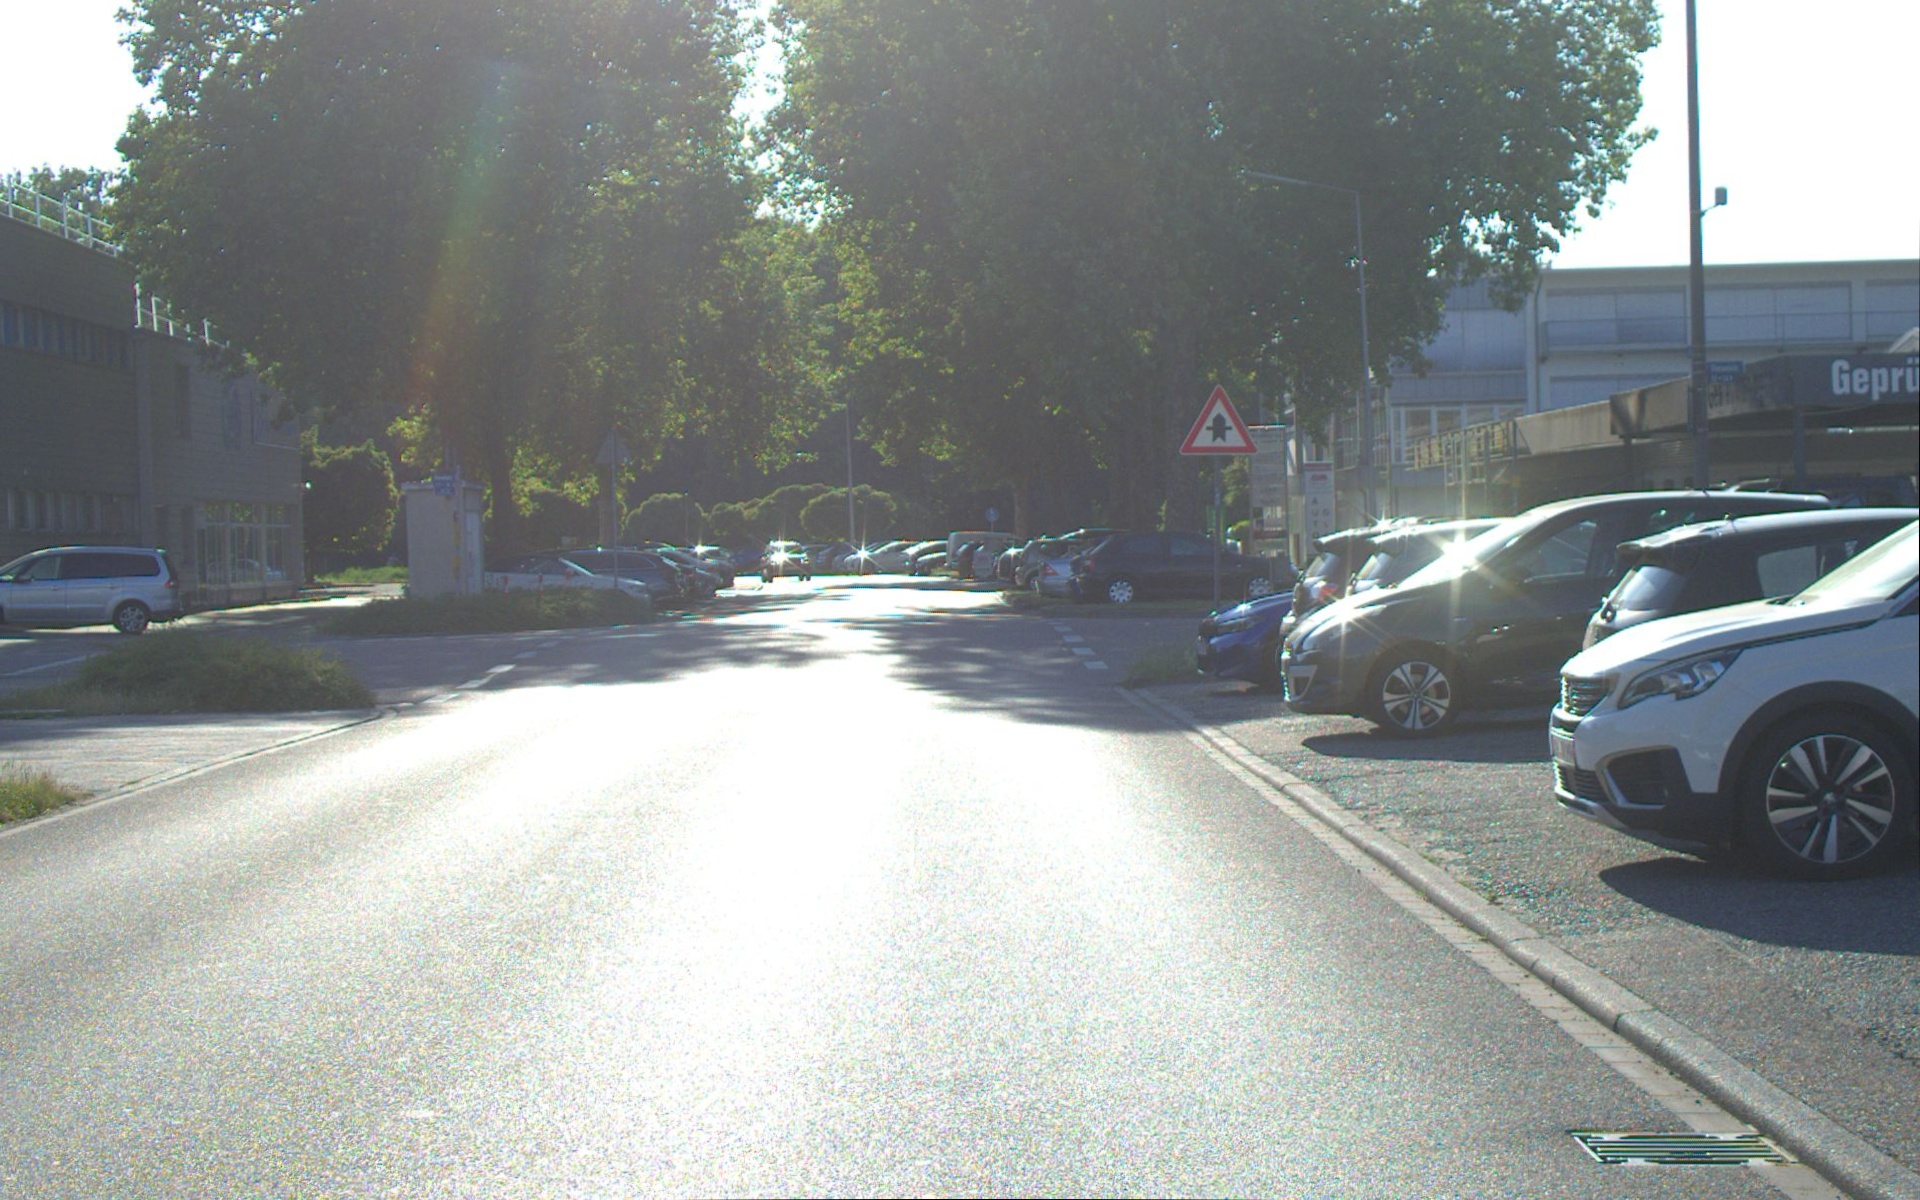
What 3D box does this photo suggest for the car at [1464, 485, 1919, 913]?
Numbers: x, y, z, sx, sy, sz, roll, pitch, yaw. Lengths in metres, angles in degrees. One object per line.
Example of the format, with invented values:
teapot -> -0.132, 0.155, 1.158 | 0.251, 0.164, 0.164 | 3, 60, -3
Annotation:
car -> 4.725, 0.262, 14.966 | 4.554, 1.592, 2.202 | -5, 1, -3

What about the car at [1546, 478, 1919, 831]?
car -> 5.339, 0.162, 17.550 | 4.248, 1.617, 1.921 | -3, 1, -1

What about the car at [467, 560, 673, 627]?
car -> -8.525, -0.155, 75.394 | 4.414, 1.398, 2.000 | 0, 1, -6

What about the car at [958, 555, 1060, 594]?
car -> 1.965, -1.035, 138.061 | 3.987, 1.411, 1.827 | -2, 1, -1

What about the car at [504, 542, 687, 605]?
car -> -8.978, -0.663, 84.945 | 4.415, 1.511, 2.000 | 0, 1, -4

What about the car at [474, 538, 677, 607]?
car -> -8.660, -0.629, 77.707 | 4.415, 1.511, 2.000 | 0, 1, -2

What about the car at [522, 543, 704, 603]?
car -> -8.865, -0.702, 88.092 | 4.415, 1.511, 2.000 | 0, 1, 1

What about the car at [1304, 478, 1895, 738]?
car -> 4.555, 0.050, 24.980 | 3.988, 1.607, 2.000 | -3, 1, 7

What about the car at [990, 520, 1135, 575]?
car -> 2.884, -1.489, 97.374 | 3.987, 1.376, 1.827 | -2, 1, -1

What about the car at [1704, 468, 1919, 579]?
car -> 14.768, -1.290, 59.358 | 1.938, 1.764, 3.990 | -3, -2, 43

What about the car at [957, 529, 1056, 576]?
car -> 1.919, -1.961, 141.997 | 3.987, 1.770, 1.827 | -2, 1, -1

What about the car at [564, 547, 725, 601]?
car -> -9.070, -0.768, 98.941 | 4.415, 1.511, 2.000 | 0, 1, 1

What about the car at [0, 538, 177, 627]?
car -> -18.099, -0.360, 68.760 | 4.628, 1.735, 2.001 | -1, 1, -16

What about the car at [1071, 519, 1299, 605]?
car -> 4.107, -0.705, 63.183 | 3.987, 1.411, 2.000 | -2, 1, -1

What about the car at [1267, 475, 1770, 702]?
car -> 4.862, -0.114, 30.283 | 3.987, 1.646, 1.743 | -4, 1, -3

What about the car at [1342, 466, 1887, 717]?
car -> 5.272, -0.078, 28.064 | 3.987, 1.646, 1.801 | -5, 1, 0

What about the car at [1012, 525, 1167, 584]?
car -> 3.428, -1.205, 91.401 | 3.987, 1.411, 1.827 | -2, 1, -1

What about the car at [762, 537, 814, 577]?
car -> -7.083, -1.785, 141.691 | 1.993, 1.603, 4.000 | 1, 1, -1

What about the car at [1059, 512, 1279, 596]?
car -> 3.947, -0.879, 65.469 | 3.987, 1.411, 2.000 | -2, 1, -1

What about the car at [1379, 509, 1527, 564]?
car -> 14.320, -1.851, 100.030 | 3.986, 1.541, 2.000 | 0, 1, -2

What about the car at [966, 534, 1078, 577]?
car -> 2.252, -1.620, 125.991 | 3.987, 1.411, 1.827 | -2, 1, -1

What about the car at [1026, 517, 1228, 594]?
car -> 3.392, -0.912, 70.520 | 3.987, 1.411, 1.827 | -2, 1, -1

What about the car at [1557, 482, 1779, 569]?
car -> 14.148, -1.482, 68.843 | 3.986, 1.694, 2.000 | 0, 1, -2

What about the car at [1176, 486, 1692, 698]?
car -> 4.476, -0.093, 32.835 | 4.523, 1.667, 1.754 | -4, 1, -4
